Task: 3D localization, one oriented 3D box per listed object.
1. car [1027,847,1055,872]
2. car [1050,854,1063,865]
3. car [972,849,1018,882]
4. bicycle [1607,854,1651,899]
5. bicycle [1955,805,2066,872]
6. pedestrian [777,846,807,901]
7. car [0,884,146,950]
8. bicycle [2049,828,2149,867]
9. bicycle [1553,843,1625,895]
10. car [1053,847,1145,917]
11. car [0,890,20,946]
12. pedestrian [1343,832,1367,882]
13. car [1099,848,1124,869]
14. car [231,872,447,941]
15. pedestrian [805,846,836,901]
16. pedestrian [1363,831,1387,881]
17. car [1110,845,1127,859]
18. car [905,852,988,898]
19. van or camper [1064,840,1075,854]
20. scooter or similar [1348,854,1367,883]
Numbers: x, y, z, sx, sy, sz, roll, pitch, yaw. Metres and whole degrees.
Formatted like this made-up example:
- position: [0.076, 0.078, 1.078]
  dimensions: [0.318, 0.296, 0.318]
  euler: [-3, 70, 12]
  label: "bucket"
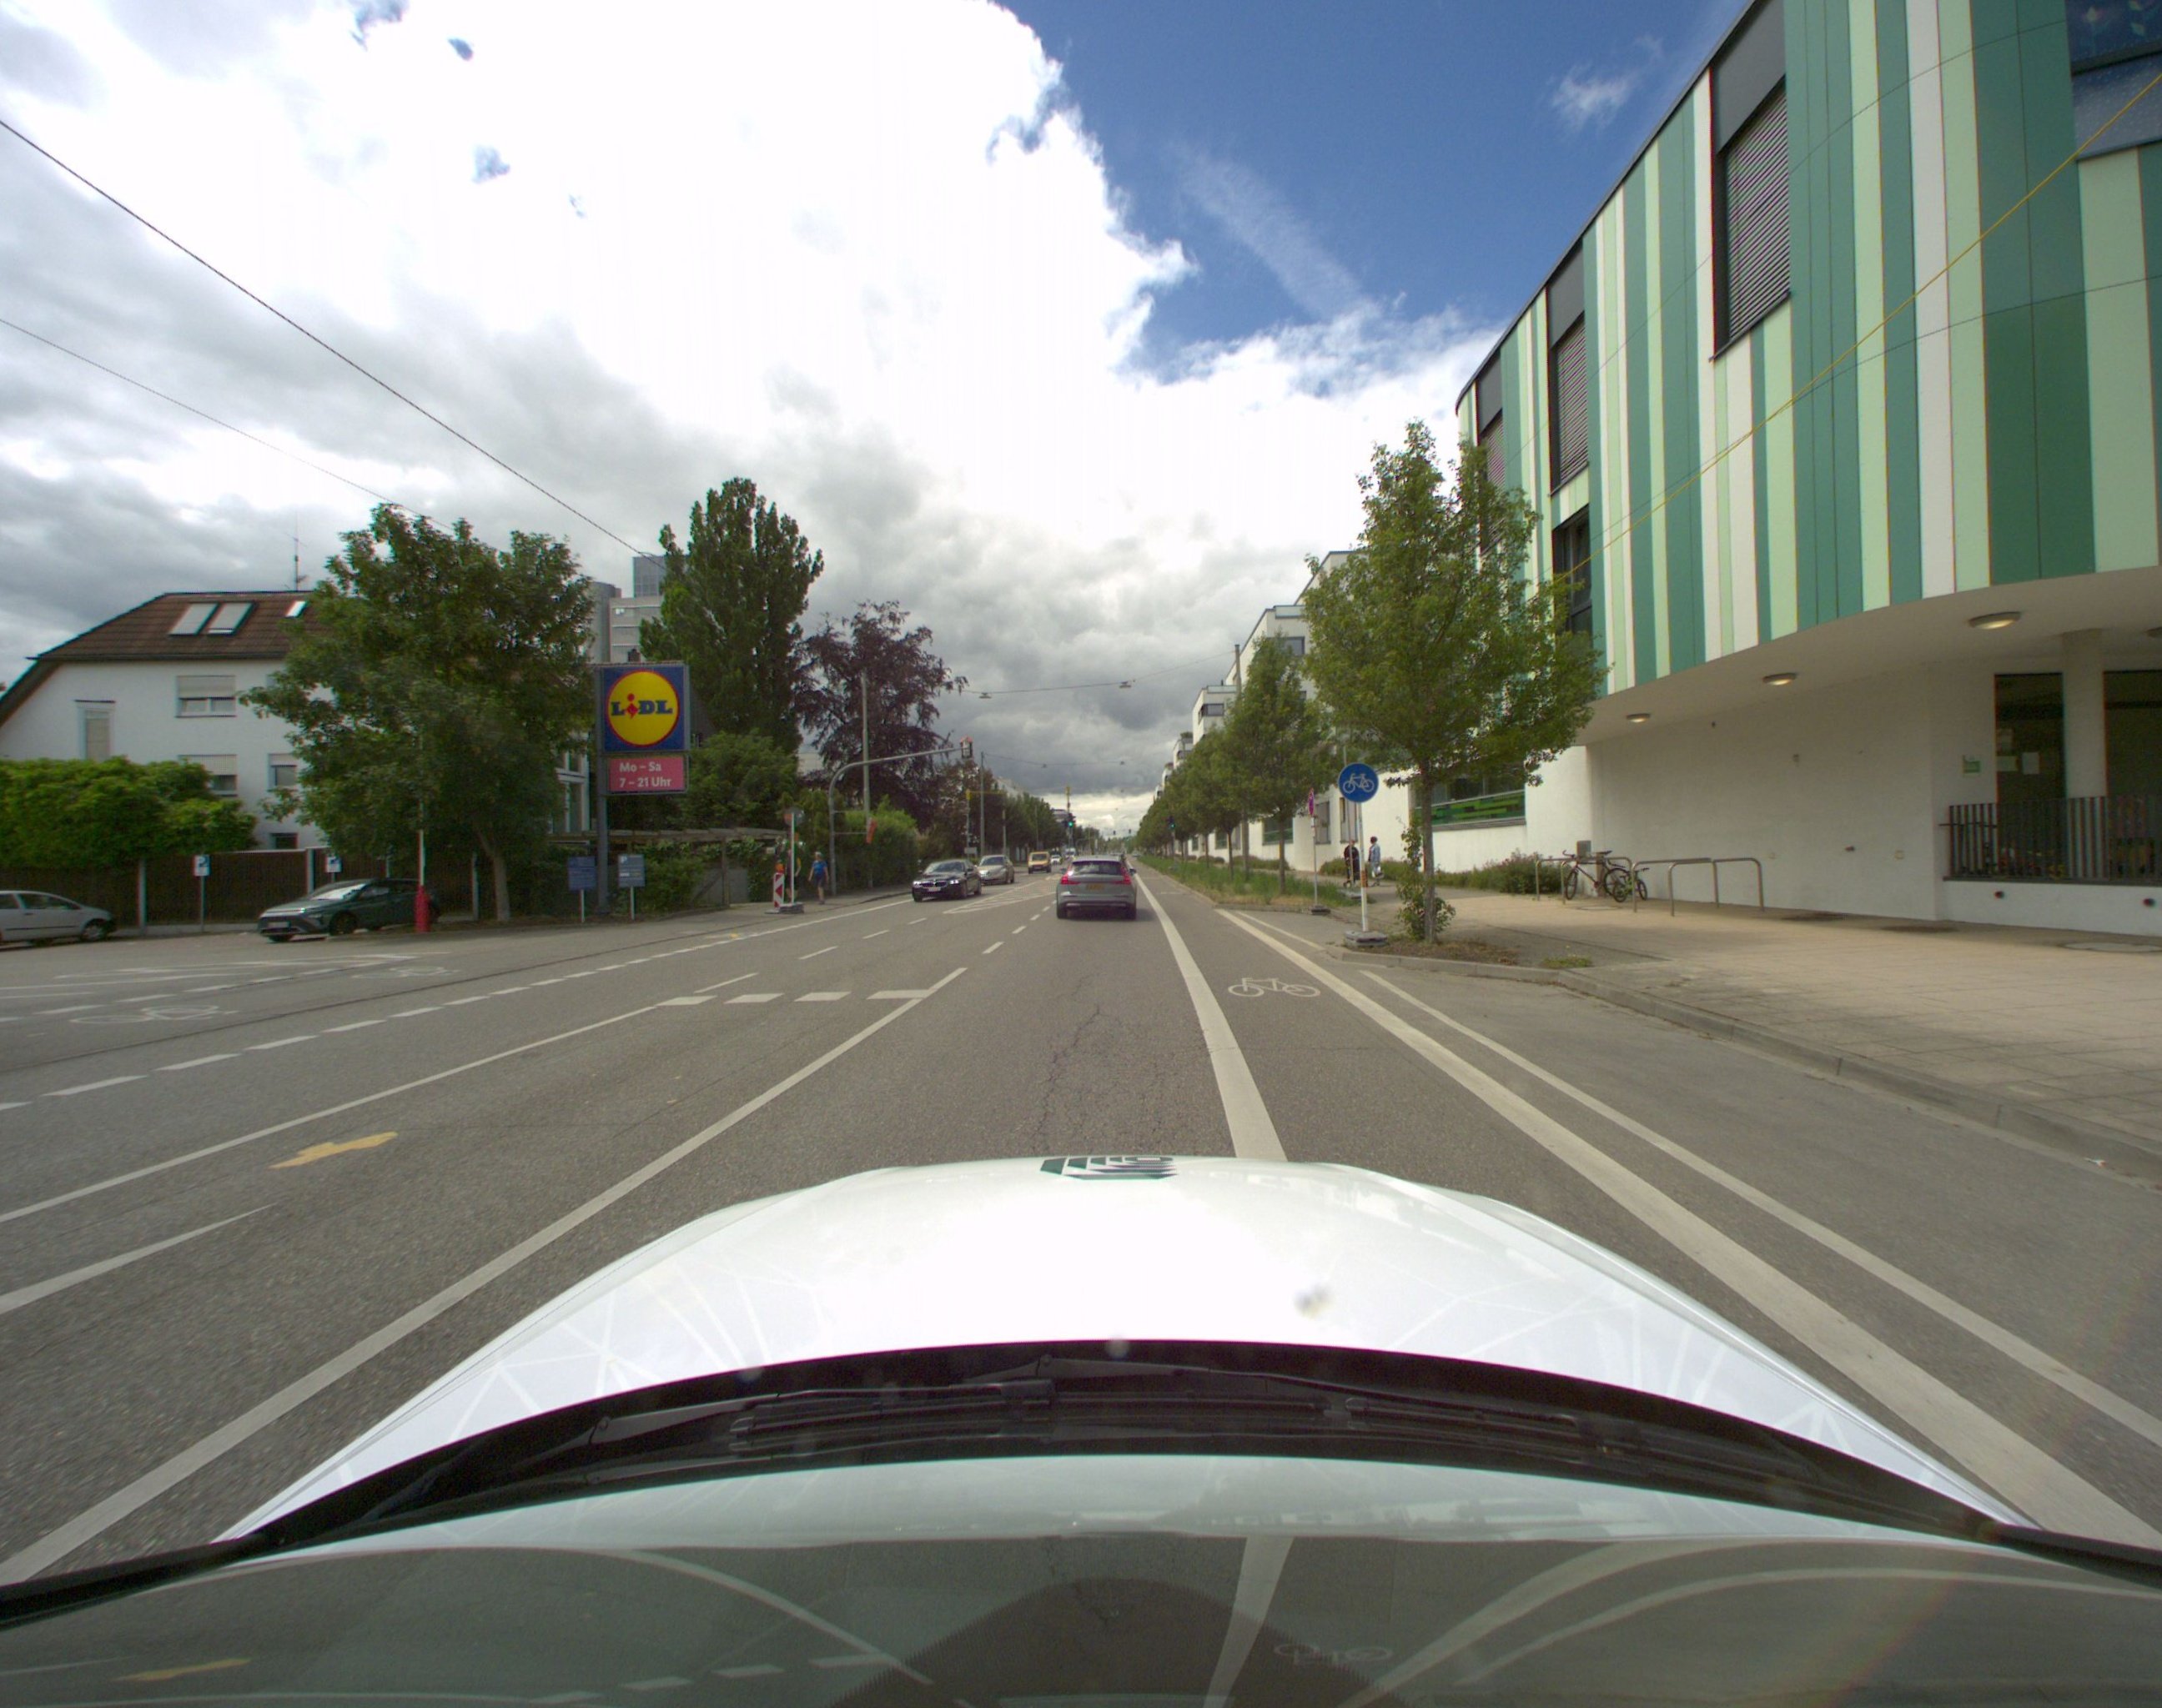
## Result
- position: [-3.340, 0.402, 68.122]
  dimensions: [1.834, 1.904, 4.689]
  euler: [-2, 1, 2]
  label: "car"
- position: [-3.679, 0.744, 122.131]
  dimensions: [1.654, 1.515, 4.003]
  euler: [-2, 1, 2]
  label: "car"
- position: [-4.586, 0.584, 43.983]
  dimensions: [1.742, 1.555, 4.405]
  euler: [-3, 1, 3]
  label: "car"
- position: [11.235, 0.454, 16.699]
  dimensions: [1.028, 0.841, 0.304]
  euler: [-3, 1, -30]
  label: "bicycle"
- position: [12.493, -0.203, 10.956]
  dimensions: [1.016, 0.841, 0.308]
  euler: [-3, 1, 8]
  label: "bicycle"
- position: [-10.067, 0.664, 28.390]
  dimensions: [0.679, 1.854, 0.707]
  euler: [-2, 0, 3]
  label: "pedestrian"
- position: [-28.911, 1.729, 22.289]
  dimensions: [1.988, 1.552, 3.998]
  euler: [-3, 1, -1]
  label: "car"
- position: [12.592, -0.085, 10.089]
  dimensions: [0.304, 0.452, 0.801]
  euler: [-3, 1, 8]
  label: "bicycle"
- position: [11.094, 0.327, 17.783]
  dimensions: [1.464, 1.045, 0.306]
  euler: [-3, 1, -10]
  label: "bicycle"
- position: [0.553, 0.599, 20.039]
  dimensions: [1.844, 1.513, 4.009]
  euler: [0, 1, 7]
  label: "car"
- position: [-31.492, 1.874, 21.369]
  dimensions: [1.988, 1.552, 3.998]
  euler: [-3, 1, -1]
  label: "car"
- position: [9.376, 0.092, 27.882]
  dimensions: [0.602, 1.654, 0.552]
  euler: [-2, 0, 2]
  label: "pedestrian"
- position: [2.355, 0.327, 63.387]
  dimensions: [1.847, 1.513, 4.002]
  euler: [-1, 1, 2]
  label: "car"
- position: [-19.749, 1.337, 21.964]
  dimensions: [1.985, 1.453, 4.003]
  euler: [-3, 1, 3]
  label: "car"
- position: [-9.081, 0.657, 28.376]
  dimensions: [0.679, 1.854, 0.893]
  euler: [-2, 0, 3]
  label: "pedestrian"
- position: [9.901, 0.068, 27.410]
  dimensions: [0.548, 1.654, 0.607]
  euler: [-2, 0, 2]
  label: "pedestrian"
- position: [4.249, -0.224, 91.727]
  dimensions: [1.838, 1.513, 4.002]
  euler: [-1, 1, 2]
  label: "car"
- position: [-4.902, 0.709, 30.355]
  dimensions: [1.985, 1.399, 4.814]
  euler: [-4, 1, 3]
  label: "car"
- position: [-2.280, -1.354, 163.308]
  dimensions: [1.988, 2.733, 6.049]
  euler: [-3, 1, -2]
  label: "van or camper"
- position: [9.258, 0.478, 27.285]
  dimensions: [0.420, 0.905, 0.682]
  euler: [-2, 1, 2]
  label: "scooter or similar"
